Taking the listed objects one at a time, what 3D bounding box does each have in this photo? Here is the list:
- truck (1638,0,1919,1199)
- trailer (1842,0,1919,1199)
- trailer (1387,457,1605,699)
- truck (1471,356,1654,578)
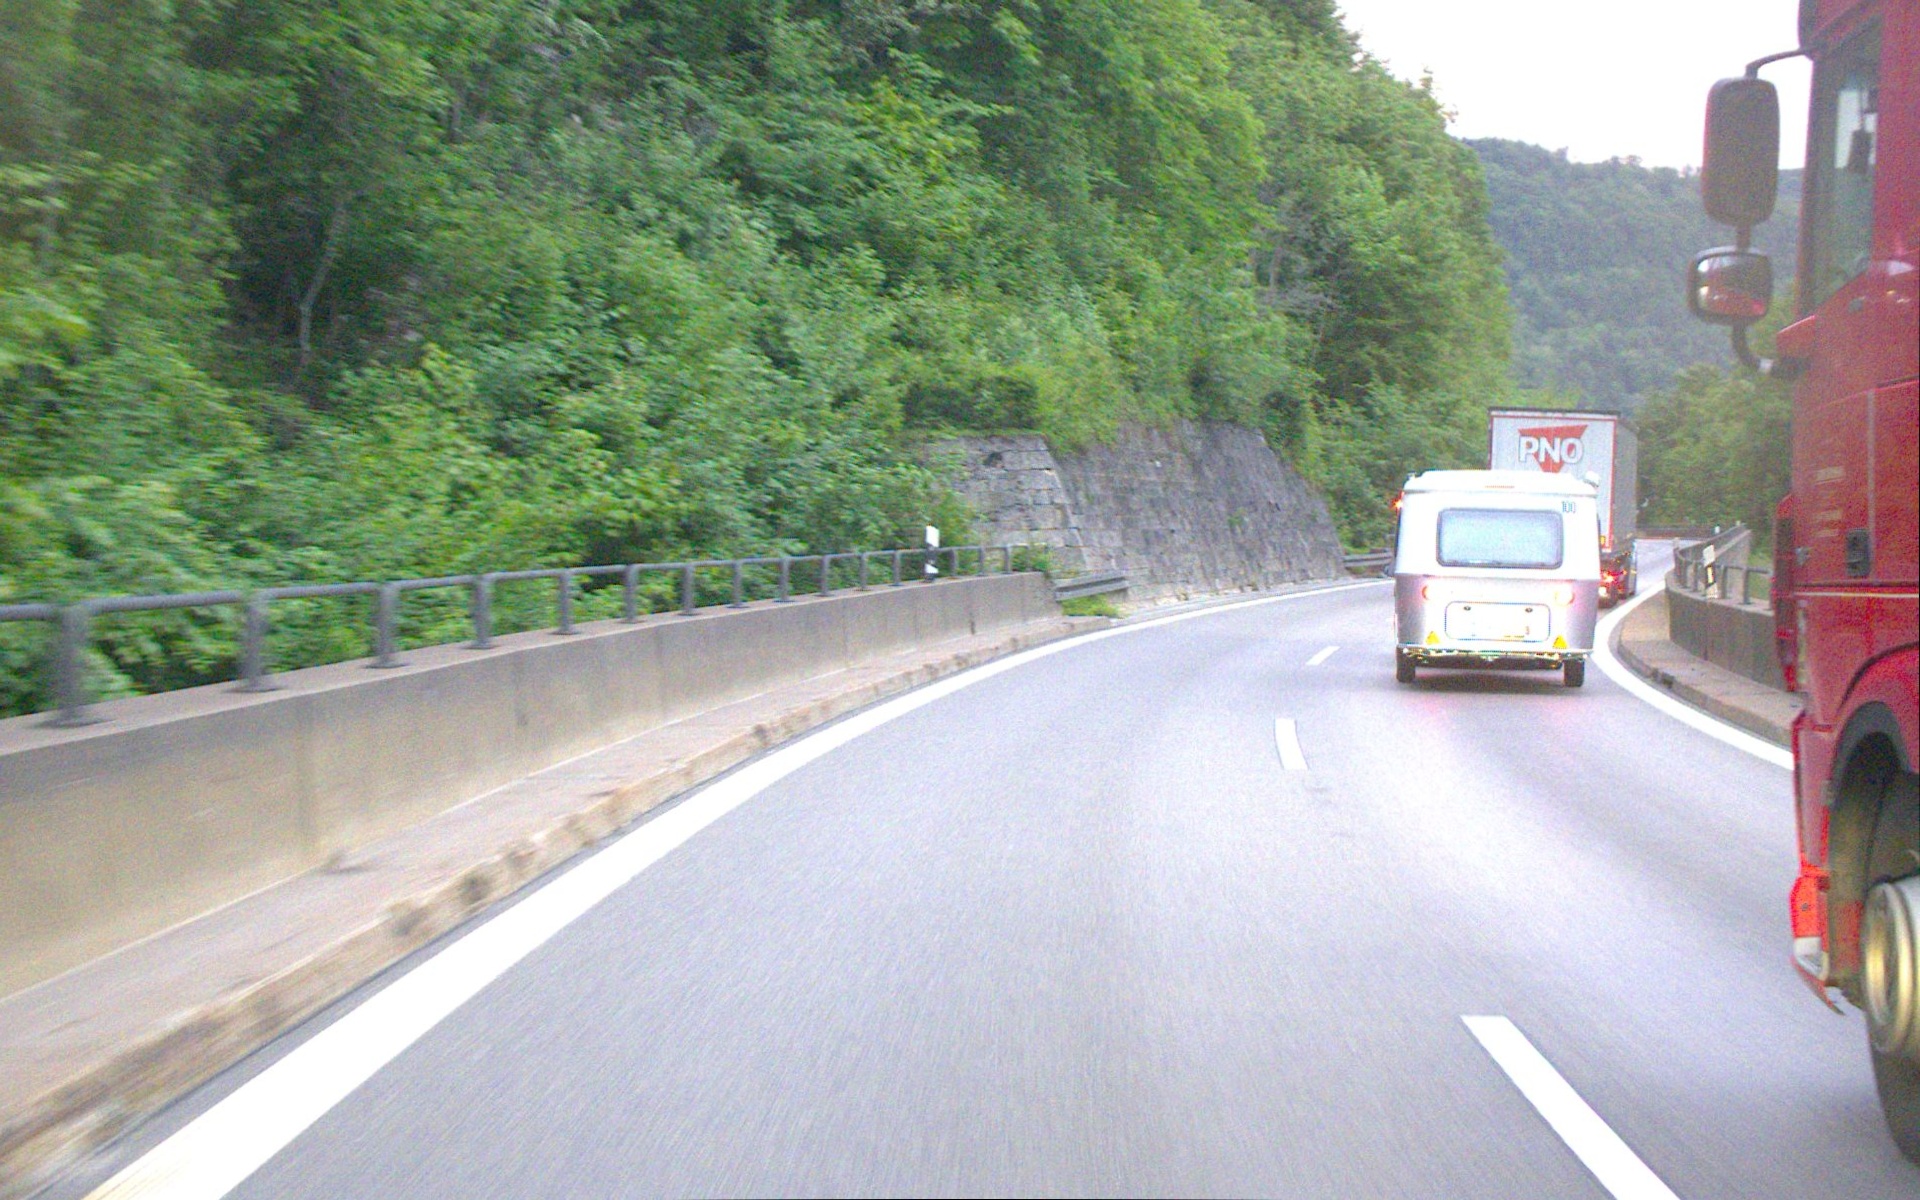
[{"bbox_3d":[3.673,-0.595,7.326,3.069,4.130,6.447,1,1,0],"label":"truck"},{"bbox_3d":[3.733,-0.415,0.682,3.097,3.956,14.219,-1,1,-2],"label":"trailer"},{"bbox_3d":[5.688,-0.296,37.103,2.055,2.367,5.937,1,1,7],"label":"trailer"},{"bbox_3d":[13.359,-2.715,75.580,3.296,4.158,16.495,-3,0,11],"label":"truck"}]
